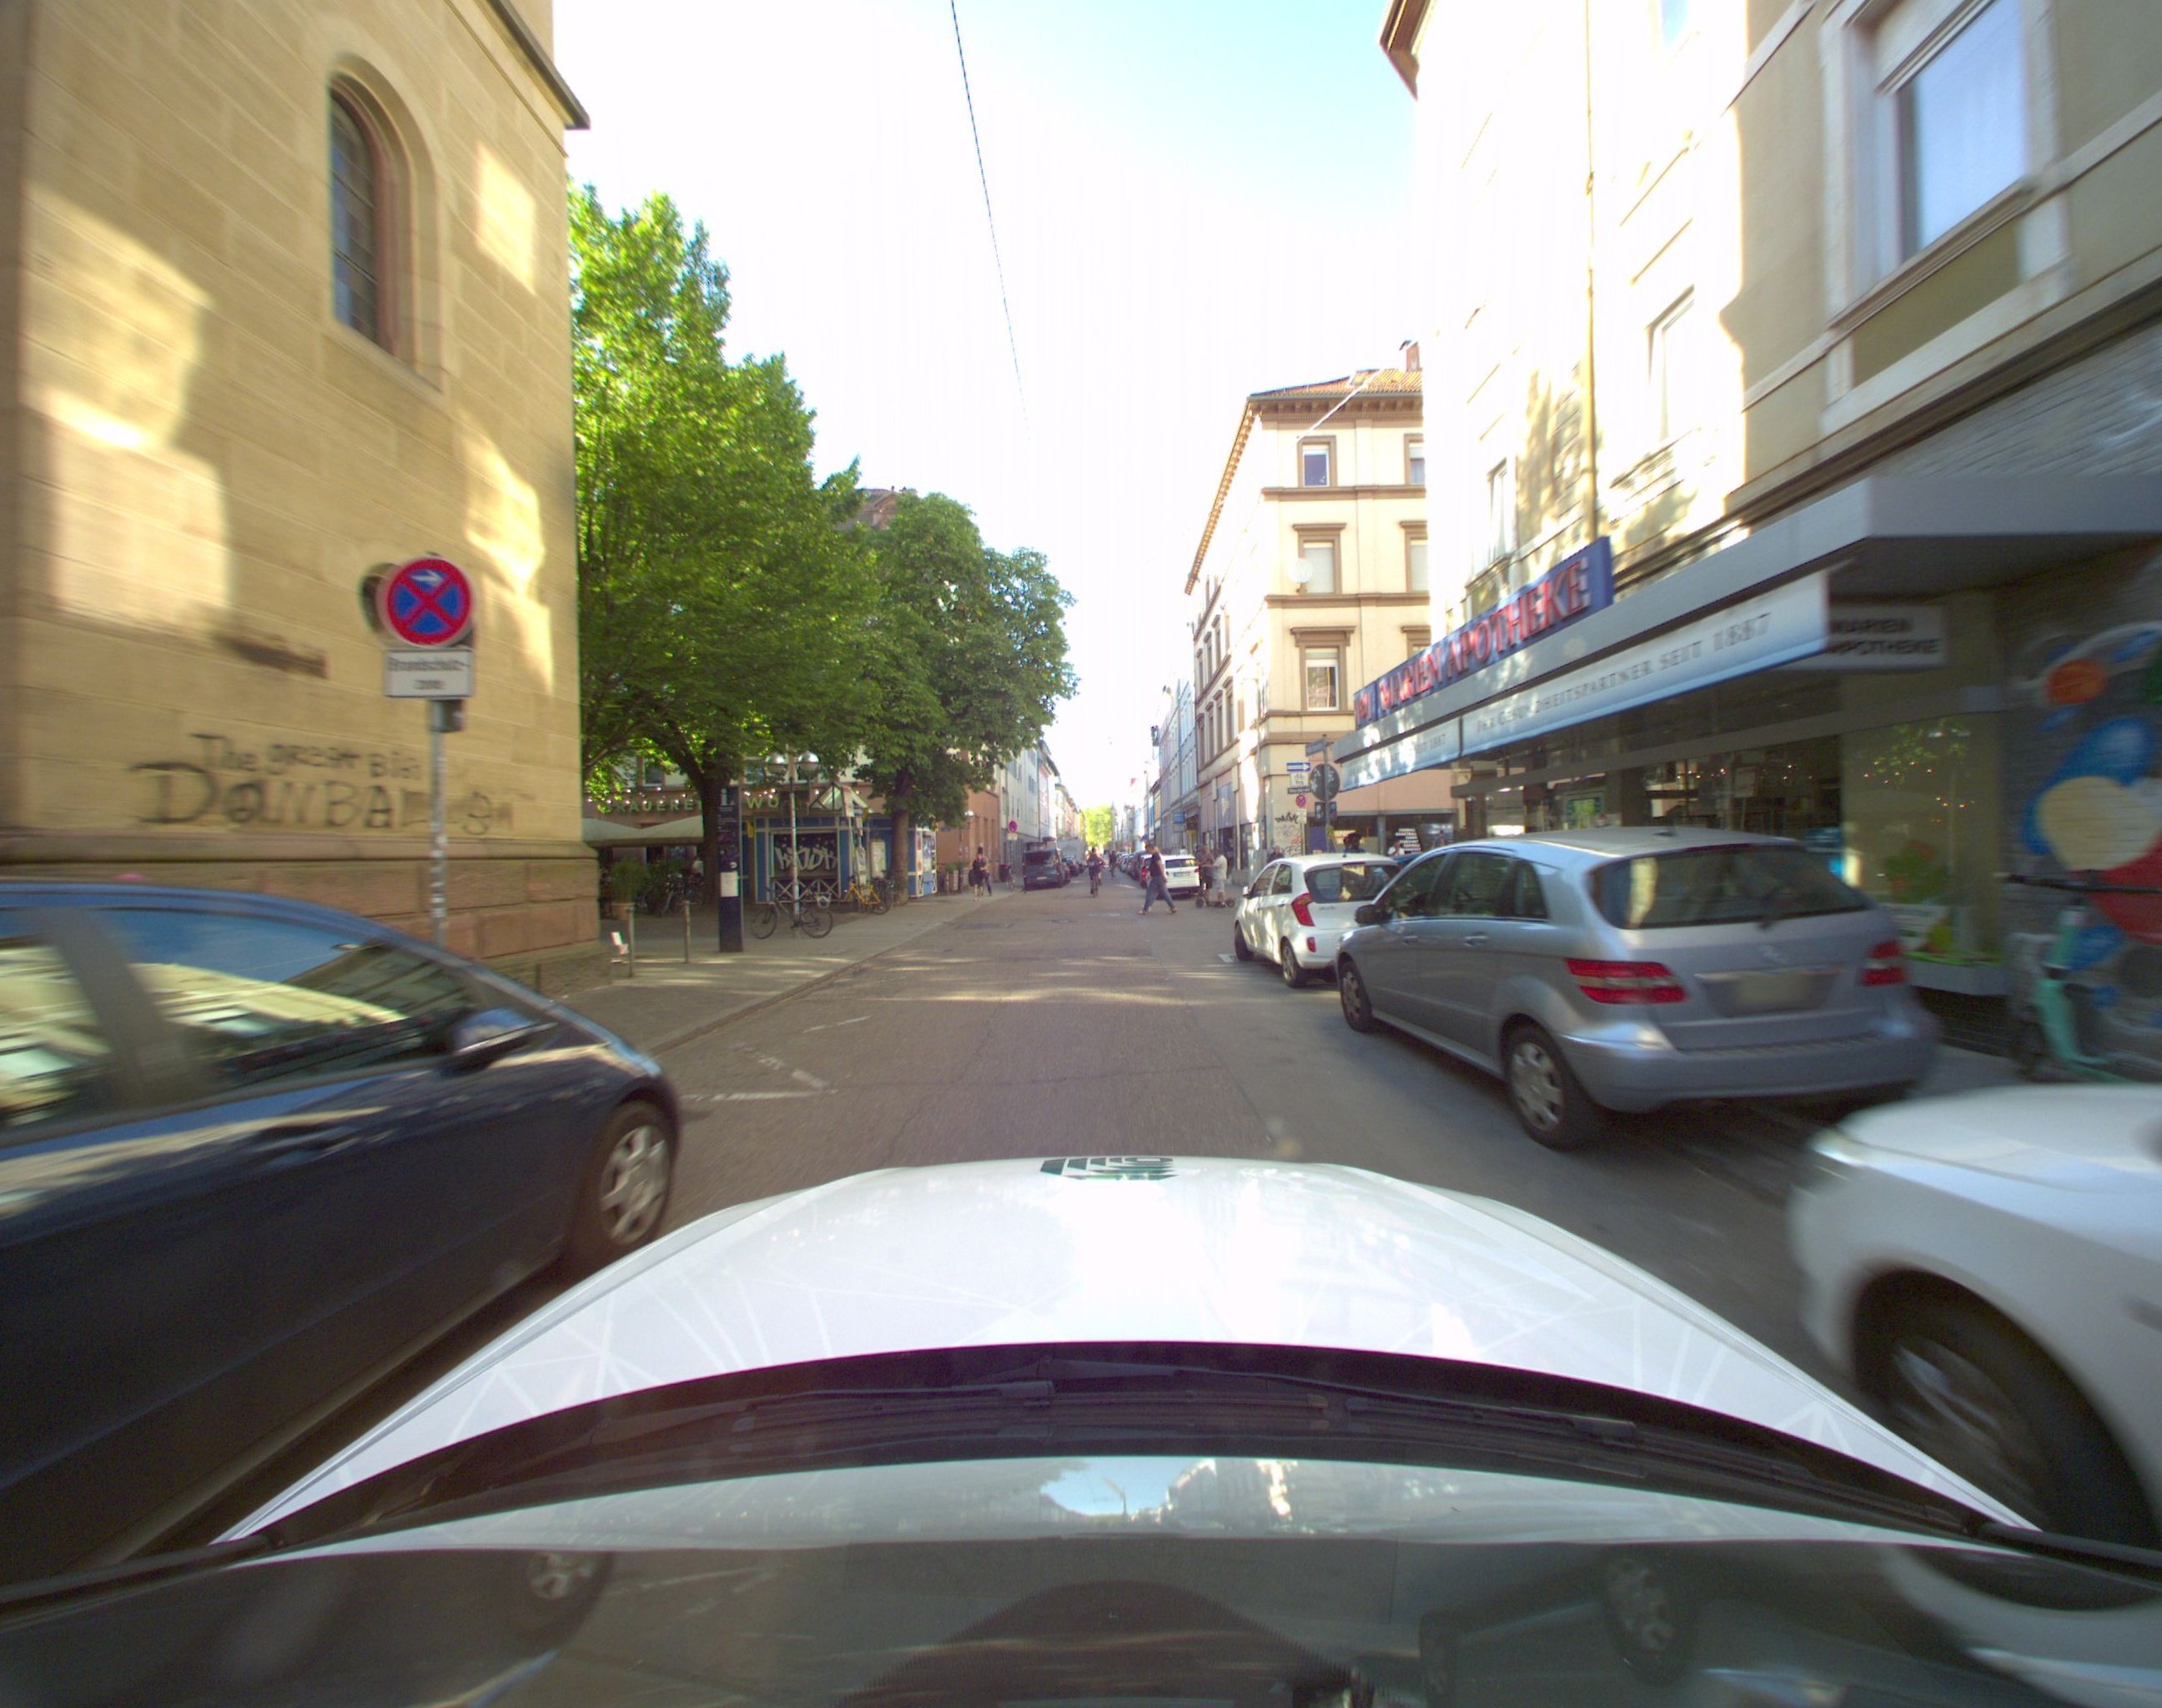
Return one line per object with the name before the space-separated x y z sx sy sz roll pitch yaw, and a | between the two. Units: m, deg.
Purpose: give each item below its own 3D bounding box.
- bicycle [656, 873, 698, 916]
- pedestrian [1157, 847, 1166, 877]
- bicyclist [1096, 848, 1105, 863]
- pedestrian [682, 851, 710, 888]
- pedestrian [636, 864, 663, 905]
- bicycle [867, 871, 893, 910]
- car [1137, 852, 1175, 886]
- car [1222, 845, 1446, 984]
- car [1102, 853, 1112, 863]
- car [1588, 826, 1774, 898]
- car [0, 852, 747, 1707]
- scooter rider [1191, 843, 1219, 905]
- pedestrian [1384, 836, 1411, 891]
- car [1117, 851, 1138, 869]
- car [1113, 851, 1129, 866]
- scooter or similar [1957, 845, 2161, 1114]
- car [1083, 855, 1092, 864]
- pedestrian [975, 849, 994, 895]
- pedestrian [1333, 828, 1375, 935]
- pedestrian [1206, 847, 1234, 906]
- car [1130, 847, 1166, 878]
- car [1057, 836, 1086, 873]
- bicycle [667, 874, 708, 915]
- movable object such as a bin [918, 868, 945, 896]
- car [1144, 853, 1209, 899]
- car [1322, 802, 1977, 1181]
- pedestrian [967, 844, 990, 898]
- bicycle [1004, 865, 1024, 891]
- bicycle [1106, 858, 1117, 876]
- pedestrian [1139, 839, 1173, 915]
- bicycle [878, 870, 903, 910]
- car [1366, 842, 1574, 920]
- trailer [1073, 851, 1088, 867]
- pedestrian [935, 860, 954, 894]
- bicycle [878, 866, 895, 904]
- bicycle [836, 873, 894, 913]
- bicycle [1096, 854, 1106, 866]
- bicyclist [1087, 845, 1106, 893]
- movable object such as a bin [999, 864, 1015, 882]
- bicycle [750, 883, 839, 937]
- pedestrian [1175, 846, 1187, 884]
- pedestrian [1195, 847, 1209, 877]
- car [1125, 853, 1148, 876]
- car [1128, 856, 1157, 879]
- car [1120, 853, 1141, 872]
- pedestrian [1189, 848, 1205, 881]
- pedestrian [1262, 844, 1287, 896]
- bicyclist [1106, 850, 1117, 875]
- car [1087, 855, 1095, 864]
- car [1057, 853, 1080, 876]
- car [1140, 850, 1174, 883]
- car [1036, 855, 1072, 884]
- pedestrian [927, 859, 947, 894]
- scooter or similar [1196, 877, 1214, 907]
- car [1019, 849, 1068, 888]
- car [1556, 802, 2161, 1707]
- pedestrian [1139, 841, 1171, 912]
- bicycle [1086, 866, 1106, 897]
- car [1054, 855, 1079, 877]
bicycle | -11.846 1.168 23.931 0.227 1.091 1.938 -1 2 1
pedestrian | 4.642 0.463 46.775 0.439 1.704 0.655 -1 -1 2
bicyclist | 2.273 0.164 94.022 0.947 1.628 0.953 -4 0 2
pedestrian | -14.154 0.570 29.951 0.693 1.321 0.614 -1 -1 9
pedestrian | -14.284 1.011 26.963 0.566 1.321 0.634 -1 -1 0
bicycle | -5.854 1.052 23.773 0.291 1.046 1.579 -1 1 1
car | 3.566 0.699 39.235 1.601 1.572 3.554 -1 -1 1
car | 3.023 0.666 10.536 1.684 1.463 3.638 -1 -1 -2
car | 4.455 0.690 139.292 1.605 1.560 3.611 -1 0 1
car | 16.917 0.180 23.113 3.911 1.840 1.869 -2 2 1
car | -2.592 0.789 2.076 1.787 1.552 3.835 -1 -1 2
scooter rider | 3.621 0.575 23.733 0.558 1.778 0.615 -1 -1 36
pedestrian | 10.141 0.311 26.103 0.688 1.726 0.475 -1 -1 0
car | 4.656 0.548 82.122 1.911 1.706 4.367 -1 0 1
car | 5.194 0.622 105.614 1.745 1.879 3.970 -3 -1 -1
scooter or similar | 5.352 0.601 4.269 0.393 1.280 1.037 -1 -1 1
car | 1.299 1.129 162.412 1.744 1.683 3.796 -3 -1 1
pedestrian | -3.924 0.723 33.178 0.644 1.834 0.697 0 -1 1
pedestrian | 4.933 0.493 14.750 0.560 1.894 0.530 -1 -1 0
pedestrian | 3.880 0.623 22.723 0.568 1.638 0.522 0 -1 -45
car | 4.021 0.517 49.565 1.892 1.793 4.315 -1 -1 1
car | -0.886 0.085 79.498 2.335 3.291 7.157 -4 -1 2
bicycle | -11.574 1.168 23.983 0.227 1.091 1.938 -1 1 1
movable object such as a bin | -5.941 1.123 32.408 0.866 1.086 0.774 -1 -1 2
car | 3.332 0.762 29.084 1.782 1.516 4.134 -1 -1 -1
car | 3.117 0.624 5.634 1.694 1.650 4.063 -1 -1 0
pedestrian | -3.598 0.608 28.641 0.714 1.873 0.720 -1 -1 1
bicycle | -3.190 1.124 38.598 0.551 1.216 1.977 0 -1 -16
bicycle | 1.975 0.863 52.623 0.646 1.129 2.136 -1 -1 1
pedestrian | 1.868 0.566 20.417 0.691 1.825 1.003 -1 0 -1
bicycle | -5.543 1.038 23.755 0.291 1.082 1.579 -1 1 1
car | 8.167 0.556 17.352 3.560 1.486 1.789 -2 0 1
trailer | -0.030 0.679 109.162 1.875 2.092 3.738 -3 -1 1
pedestrian | -5.802 0.973 34.669 0.703 1.445 0.617 -1 -1 0
bicycle | -6.340 0.994 26.620 0.497 1.131 2.029 0 0 -12
bicycle | -5.969 1.073 22.511 1.563 1.082 0.348 -1 -1 11
bicycle | 2.319 0.706 94.270 0.973 1.314 2.557 -3 0 3
bicyclist | 0.545 0.539 29.340 0.665 1.677 1.097 -1 -1 1
movable object such as a bin | -4.407 1.157 48.574 0.752 1.067 0.655 -1 -1 21
bicycle | -5.842 1.140 16.614 1.684 1.065 0.346 -1 -1 -1
pedestrian | 4.695 0.513 38.250 0.558 1.740 0.428 -1 -1 3
pedestrian | 6.236 0.391 42.011 0.586 1.529 0.658 0 -1 -4
car | 4.241 0.773 62.934 1.551 1.712 3.559 -1 -1 1
car | 4.109 0.896 54.848 1.548 1.511 3.609 -1 -1 -1
car | 4.447 0.778 73.766 1.680 1.543 4.046 -4 -1 1
pedestrian | 6.096 0.550 42.789 0.629 1.740 0.656 0 -1 -12
pedestrian | 6.234 0.511 26.231 0.593 1.650 0.468 -1 2 32
bicyclist | 1.962 0.547 52.539 0.668 1.567 0.716 -1 -1 1
car | 2.167 1.255 179.889 1.744 1.821 3.796 -3 -1 1
car | -1.024 0.853 68.616 1.711 1.650 4.246 -4 1 1
car | 4.071 0.668 43.865 1.563 1.557 3.317 -5 -1 3
car | -1.497 0.883 47.034 1.744 1.522 3.870 -5 -1 1
pedestrian | -5.994 0.921 33.960 0.703 1.445 0.617 -1 -1 0
scooter or similar | 3.562 1.075 23.430 0.392 0.828 0.926 -1 -1 2
car | -1.841 0.680 41.602 2.012 1.879 5.300 -1 0 3
car | 2.463 0.670 0.870 1.548 1.526 4.202 -1 -1 2
pedestrian | 1.943 0.576 21.384 0.759 1.835 0.688 -1 -1 -1
bicycle | 0.548 0.983 29.325 0.674 1.074 1.942 -1 -1 1
car | -1.064 0.900 63.048 1.711 1.478 4.499 -4 1 1
